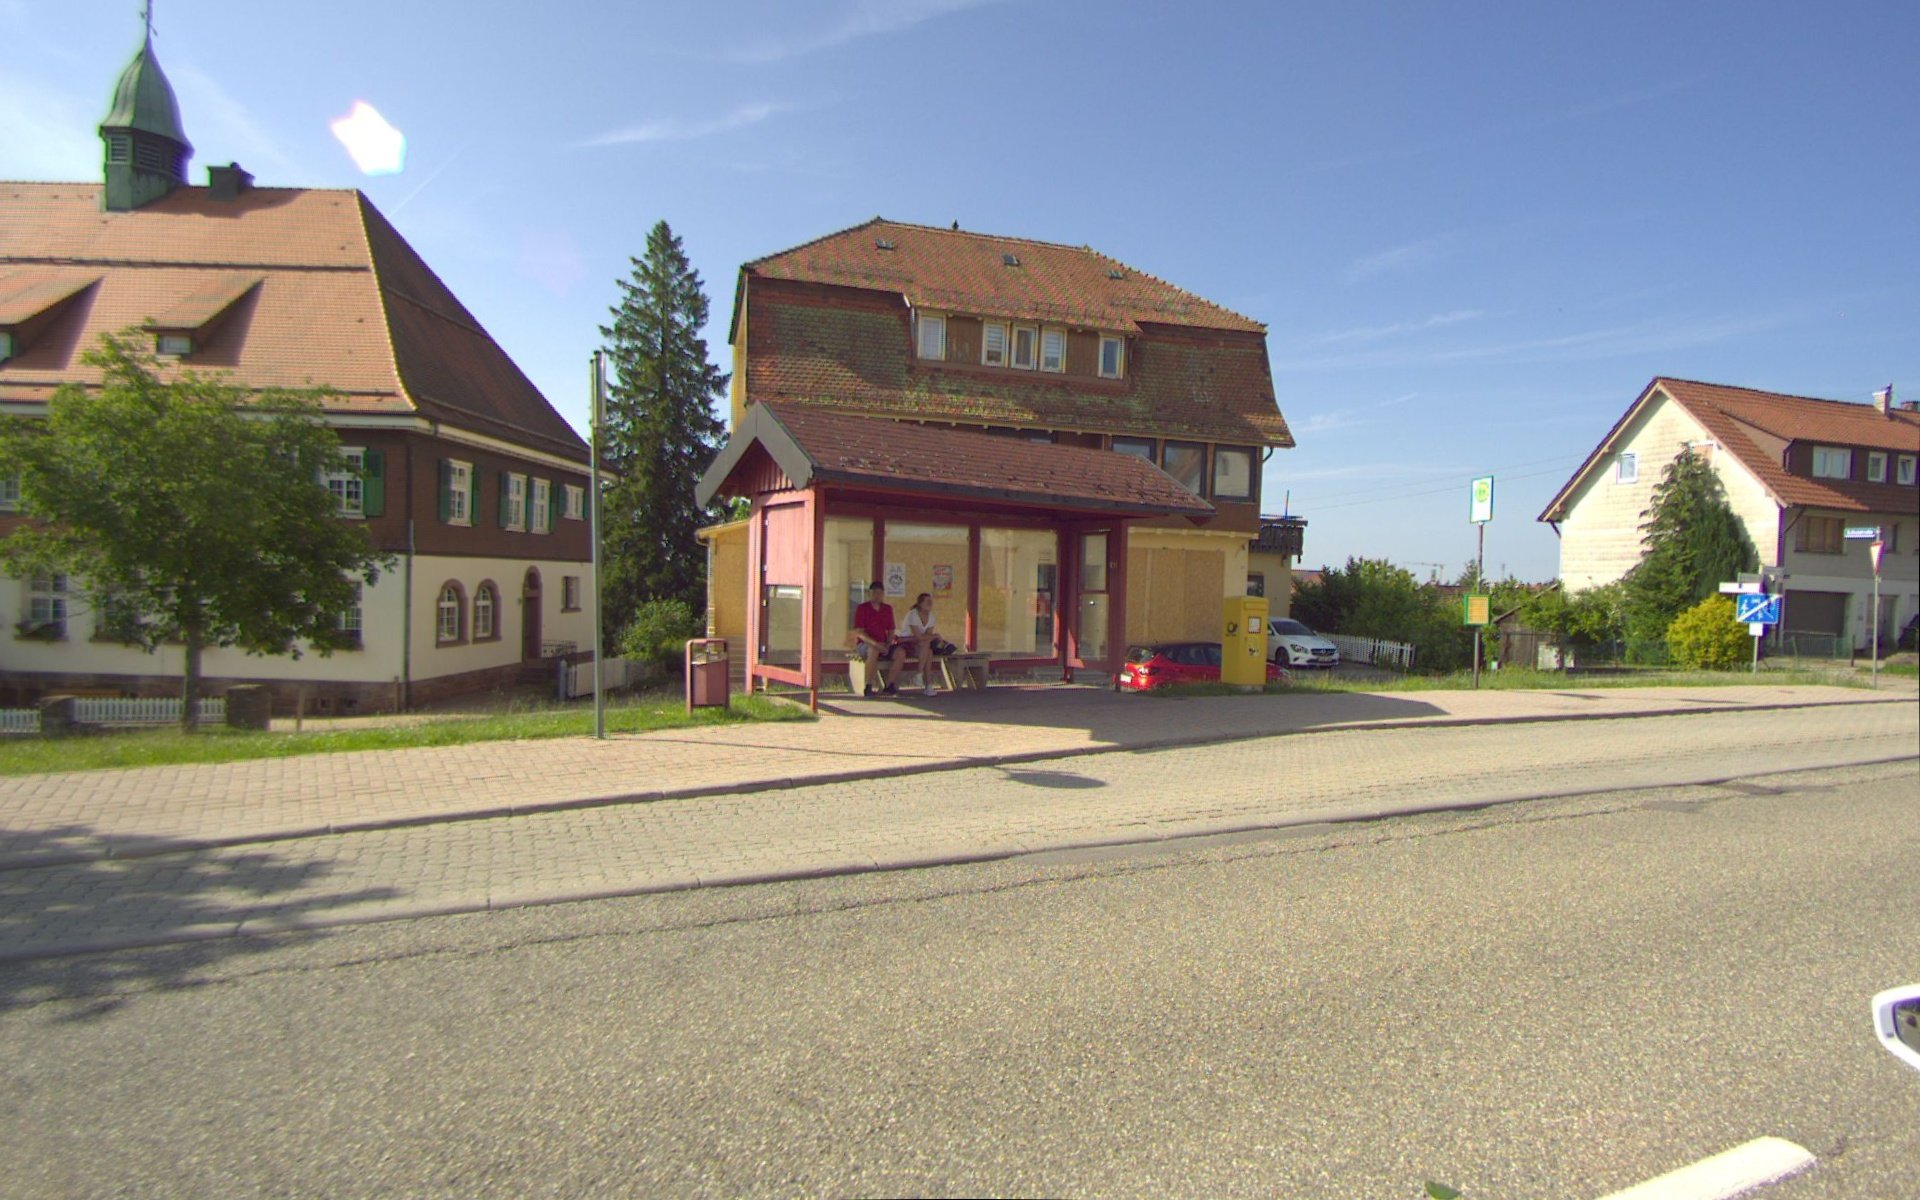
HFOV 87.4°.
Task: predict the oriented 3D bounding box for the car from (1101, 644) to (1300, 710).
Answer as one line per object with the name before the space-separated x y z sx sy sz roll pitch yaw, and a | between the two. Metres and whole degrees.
car | 5.239 1.647 22.010 3.934 1.314 1.721 1 -1 -16

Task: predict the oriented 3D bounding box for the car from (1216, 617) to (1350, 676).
car | 10.206 1.431 32.066 1.773 1.531 4.295 3 1 -20

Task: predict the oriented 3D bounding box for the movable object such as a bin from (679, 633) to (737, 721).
movable object such as a bin | -2.499 0.755 9.962 0.480 0.848 0.303 1 -1 -33

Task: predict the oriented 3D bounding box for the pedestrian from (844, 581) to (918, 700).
pedestrian | -0.953 0.476 12.128 0.666 1.382 0.614 -1 -1 -32

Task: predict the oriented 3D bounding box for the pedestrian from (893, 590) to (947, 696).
pedestrian | -0.500 0.529 12.470 0.419 1.269 0.625 1 -2 -32
